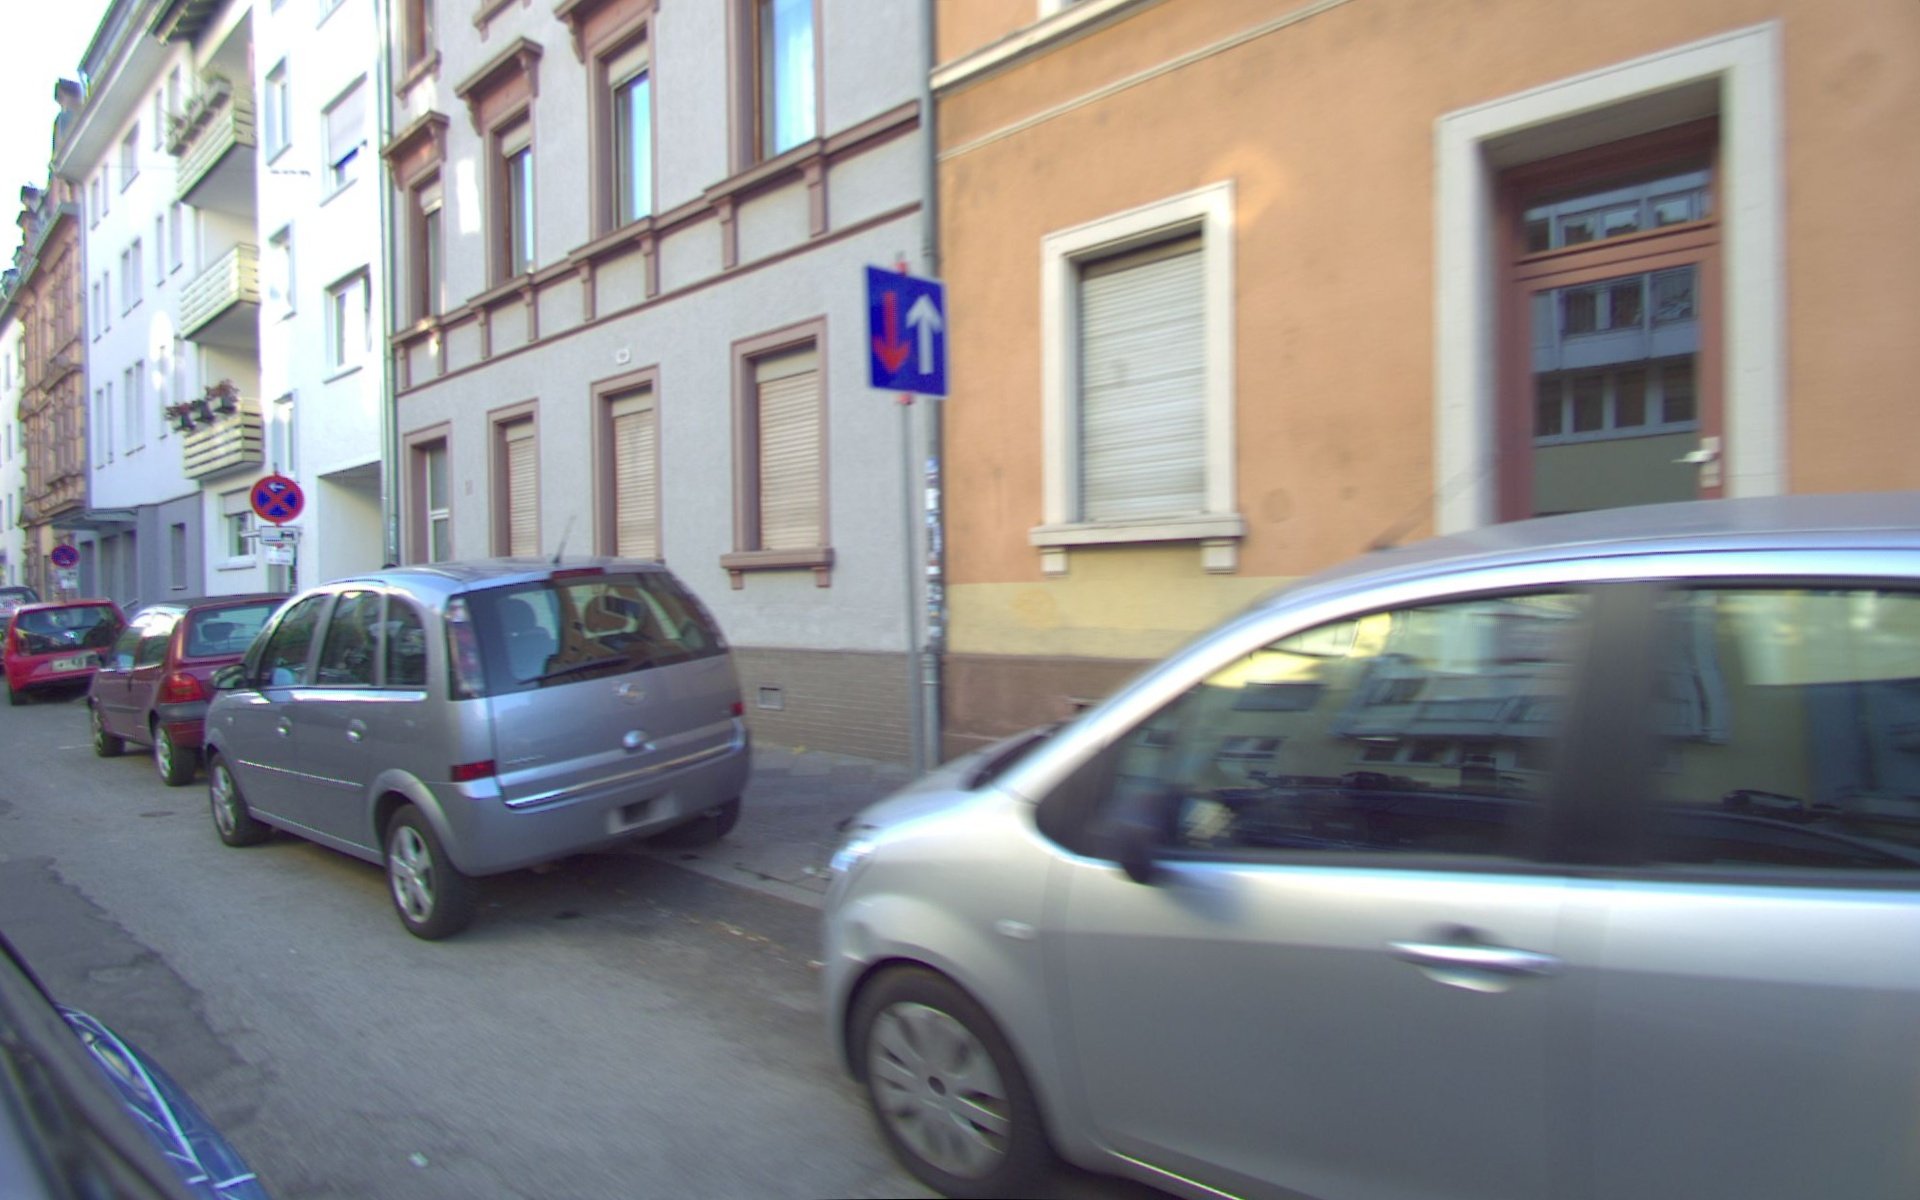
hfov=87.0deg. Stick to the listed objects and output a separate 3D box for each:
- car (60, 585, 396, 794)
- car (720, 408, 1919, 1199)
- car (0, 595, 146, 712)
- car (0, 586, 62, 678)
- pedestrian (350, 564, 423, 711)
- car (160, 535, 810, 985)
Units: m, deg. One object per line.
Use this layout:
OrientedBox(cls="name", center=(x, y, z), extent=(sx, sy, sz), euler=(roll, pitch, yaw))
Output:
OrientedBox(cls="car", center=(-6.736, 0.676, 9.224), extent=(3.283, 1.458, 1.641), euler=(-1, 4, 40))
OrientedBox(cls="car", center=(1.234, 0.598, 2.280), extent=(3.650, 1.698, 1.574), euler=(-1, 1, 40))
OrientedBox(cls="car", center=(-14.343, 0.768, 16.156), extent=(1.650, 1.496, 3.608), euler=(-8, 5, -44))
OrientedBox(cls="car", center=(-21.514, 0.689, 22.226), extent=(4.580, 1.872, 1.974), euler=(-1, 1, 40))
OrientedBox(cls="pedestrian", center=(-6.679, 0.423, 11.787), extent=(0.665, 1.650, 0.490), euler=(-1, 2, 41))
OrientedBox(cls="car", center=(-2.851, 0.579, 5.672), extent=(3.976, 1.656, 1.694), euler=(-1, 3, 40))
